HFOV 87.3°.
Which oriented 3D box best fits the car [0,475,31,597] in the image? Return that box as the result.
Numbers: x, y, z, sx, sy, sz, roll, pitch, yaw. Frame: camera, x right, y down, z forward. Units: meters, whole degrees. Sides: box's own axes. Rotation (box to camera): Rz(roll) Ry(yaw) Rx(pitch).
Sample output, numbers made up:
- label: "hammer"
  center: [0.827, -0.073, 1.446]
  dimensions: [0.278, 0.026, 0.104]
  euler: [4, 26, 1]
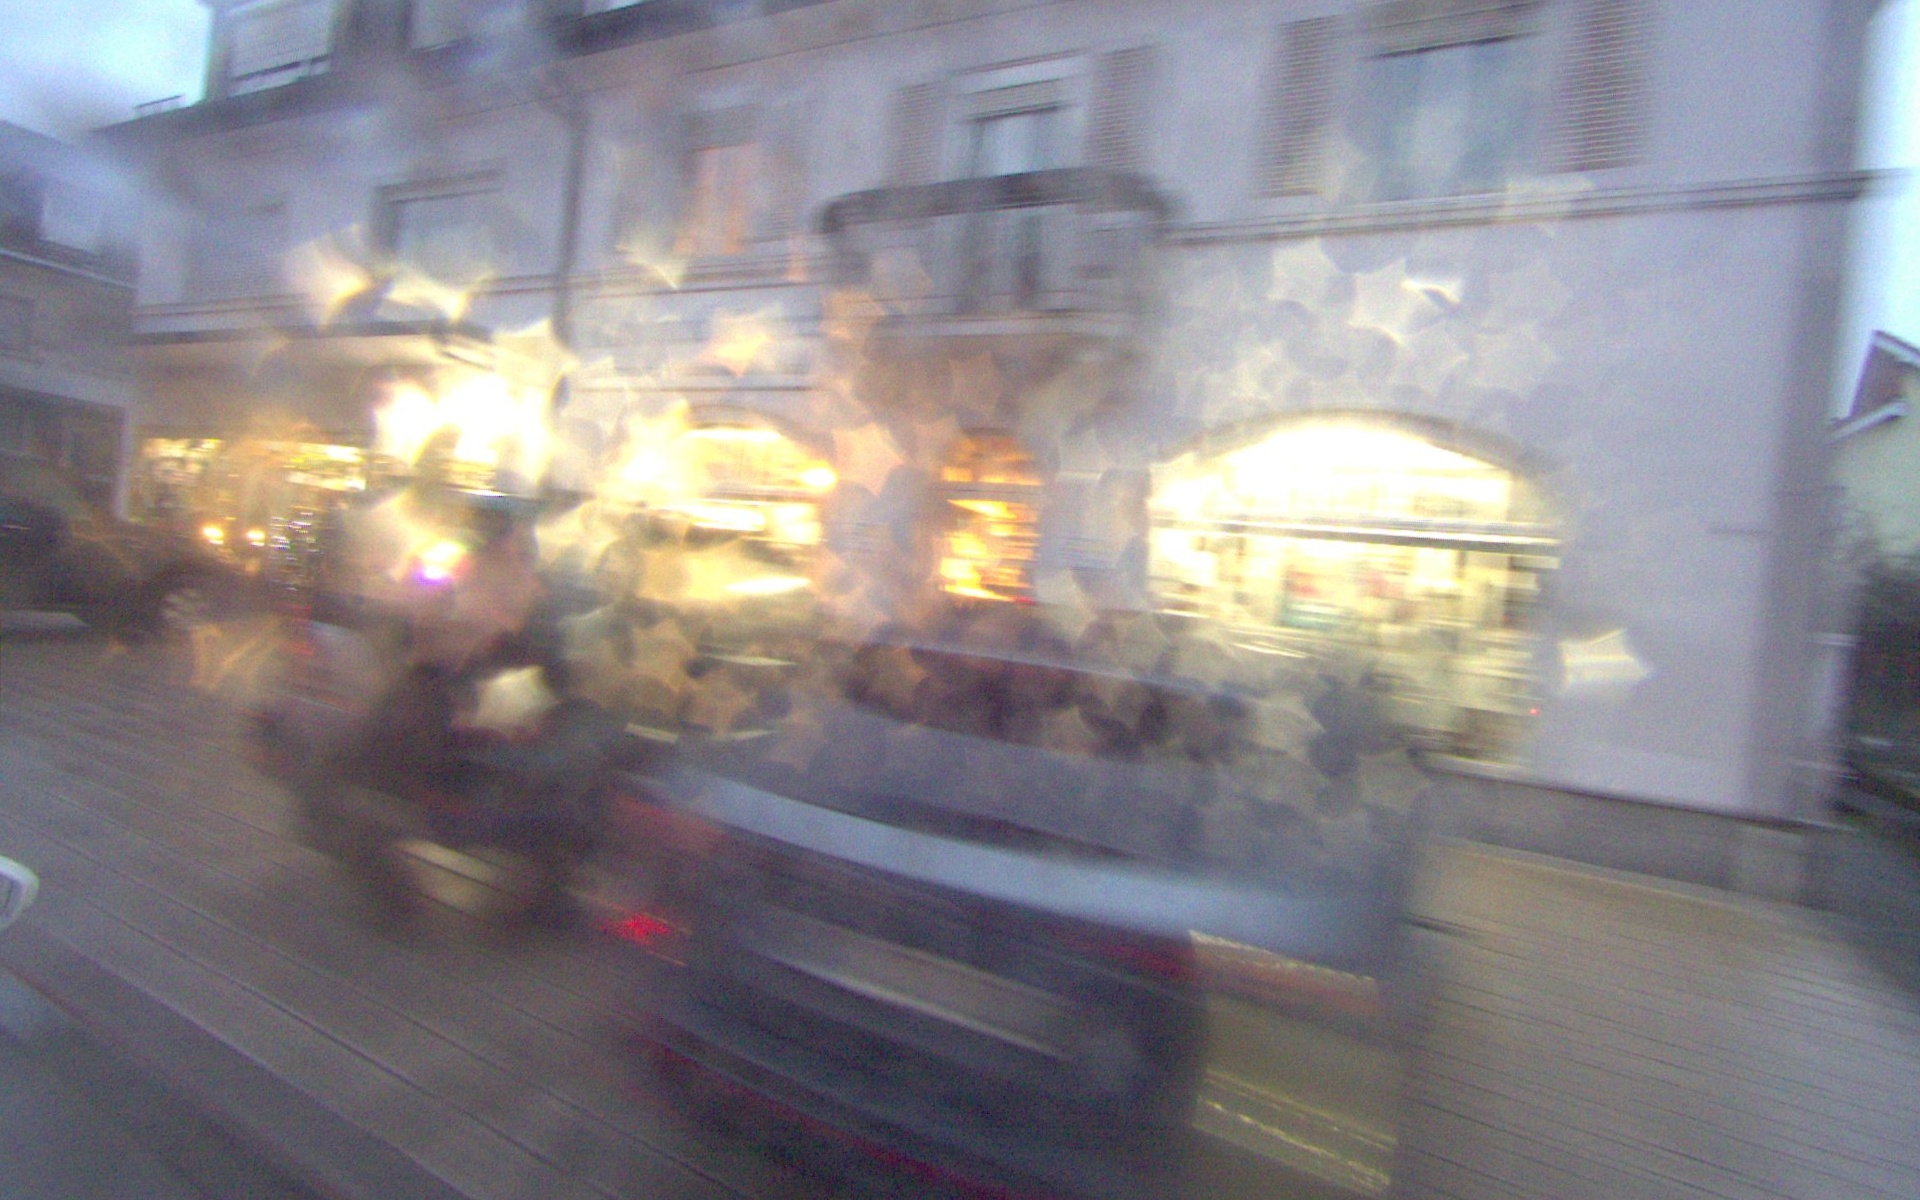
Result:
- label: "car"
  center: [-14.119, -1.019, 12.135]
  dimensions: [1.651, 1.599, 3.879]
  euler: [7, 0, 24]

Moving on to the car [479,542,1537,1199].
- label: "car"
  center: [0.869, 0.810, 3.718]
  dimensions: [1.865, 1.492, 4.473]
  euler: [7, 1, 28]

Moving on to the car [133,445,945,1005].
- label: "car"
  center: [-1.650, 0.394, 5.121]
  dimensions: [1.685, 1.703, 3.511]
  euler: [7, 2, 24]

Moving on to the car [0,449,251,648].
- label: "car"
  center: [-9.674, -0.584, 9.344]
  dimensions: [1.910, 1.798, 4.614]
  euler: [7, 0, 25]
